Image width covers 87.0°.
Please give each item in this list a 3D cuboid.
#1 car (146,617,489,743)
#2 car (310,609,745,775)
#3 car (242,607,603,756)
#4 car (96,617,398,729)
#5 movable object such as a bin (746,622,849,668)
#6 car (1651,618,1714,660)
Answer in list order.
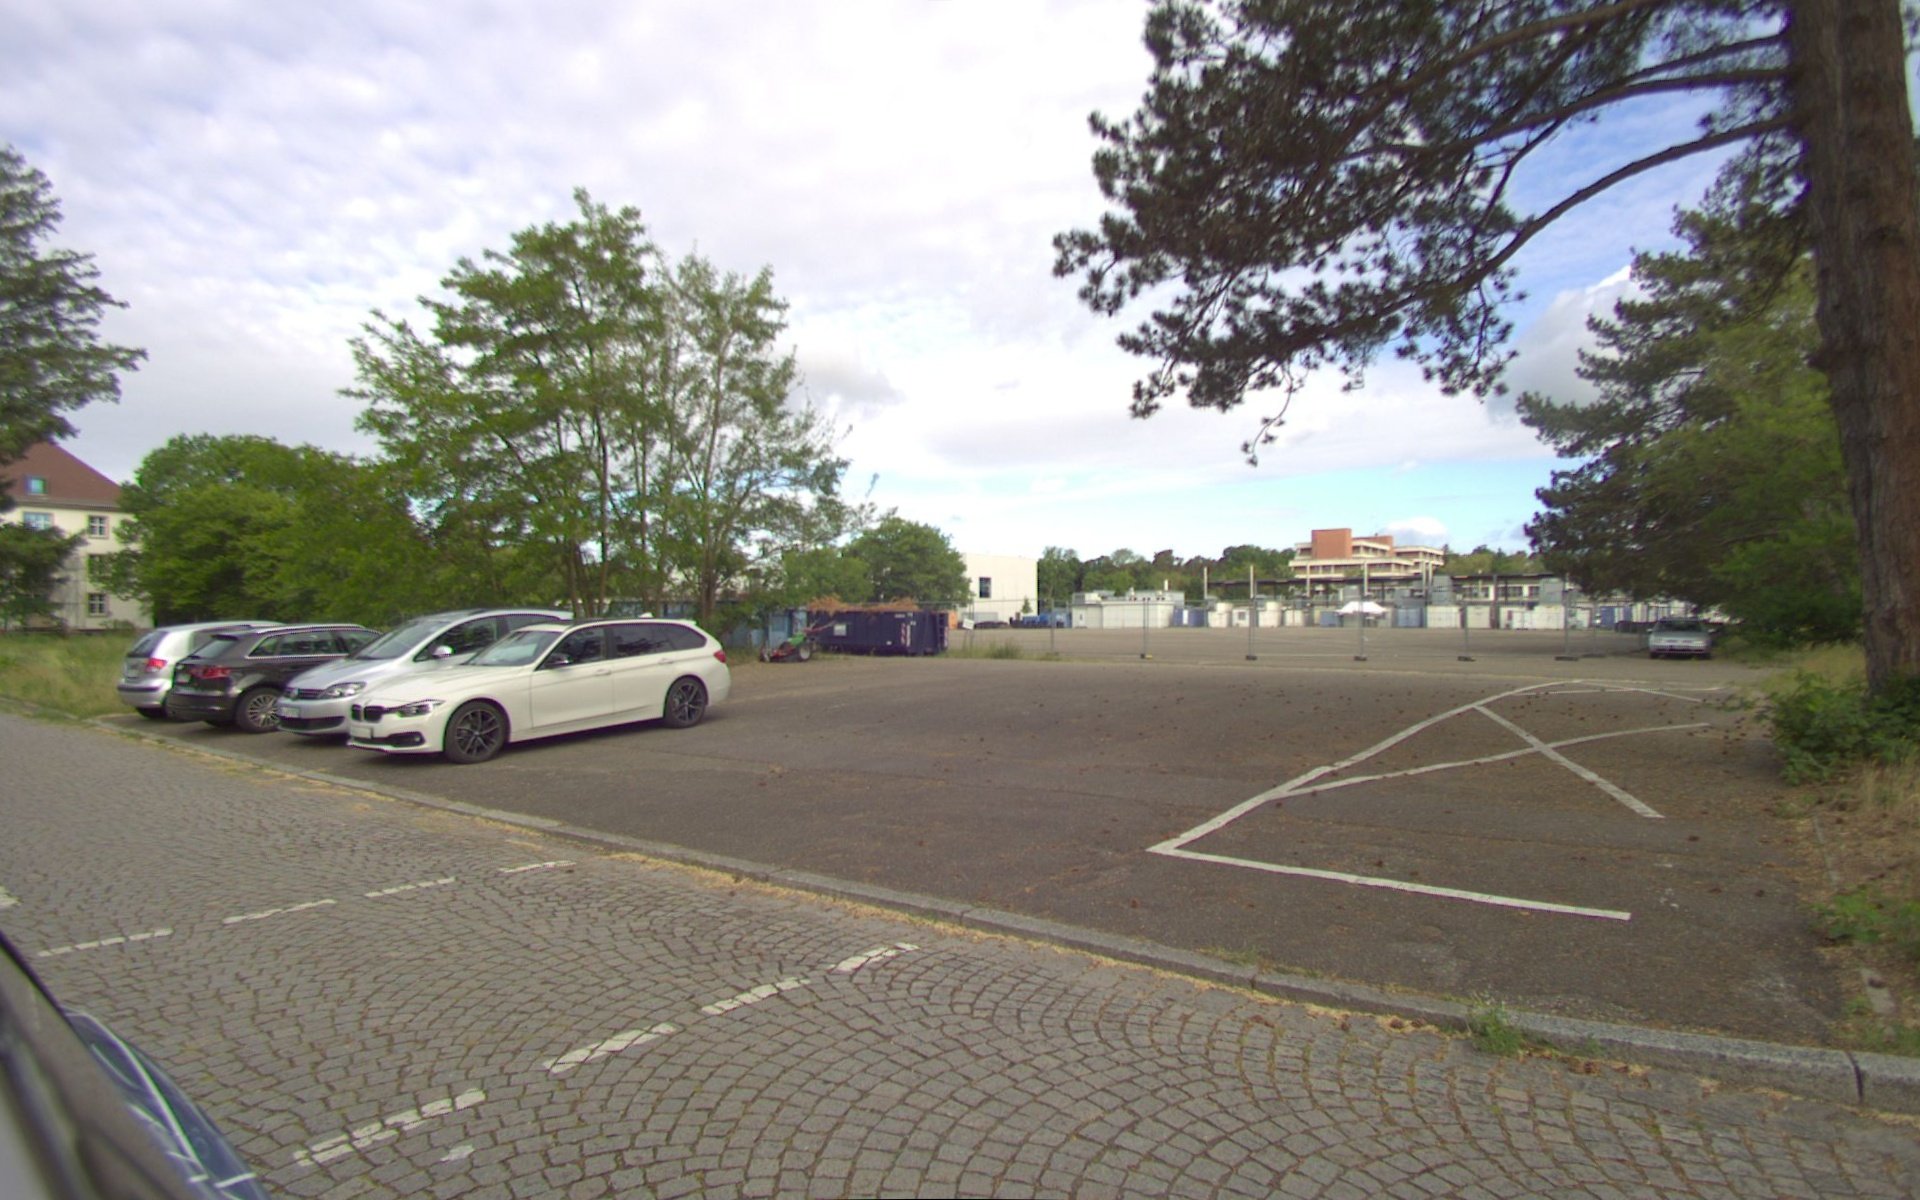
[{"bbox_3d":[-9.396,1.064,15.082,1.748,1.438,3.951,-1,1,37],"label":"car"},{"bbox_3d":[-4.958,0.932,12.299,1.797,1.454,4.609,-1,1,34],"label":"car"},{"bbox_3d":[-7.065,0.961,13.697,1.719,1.559,3.955,-1,1,33],"label":"car"},{"bbox_3d":[-11.617,1.105,16.699,1.803,1.463,3.648,-1,1,33],"label":"car"},{"bbox_3d":[-4.442,1.207,27.771,1.500,1.170,2.365,-1,-2,43],"label":"movable object such as a bin"},{"bbox_3d":[25.215,1.320,35.320,1.694,1.403,3.951,-1,-1,36],"label":"car"}]
